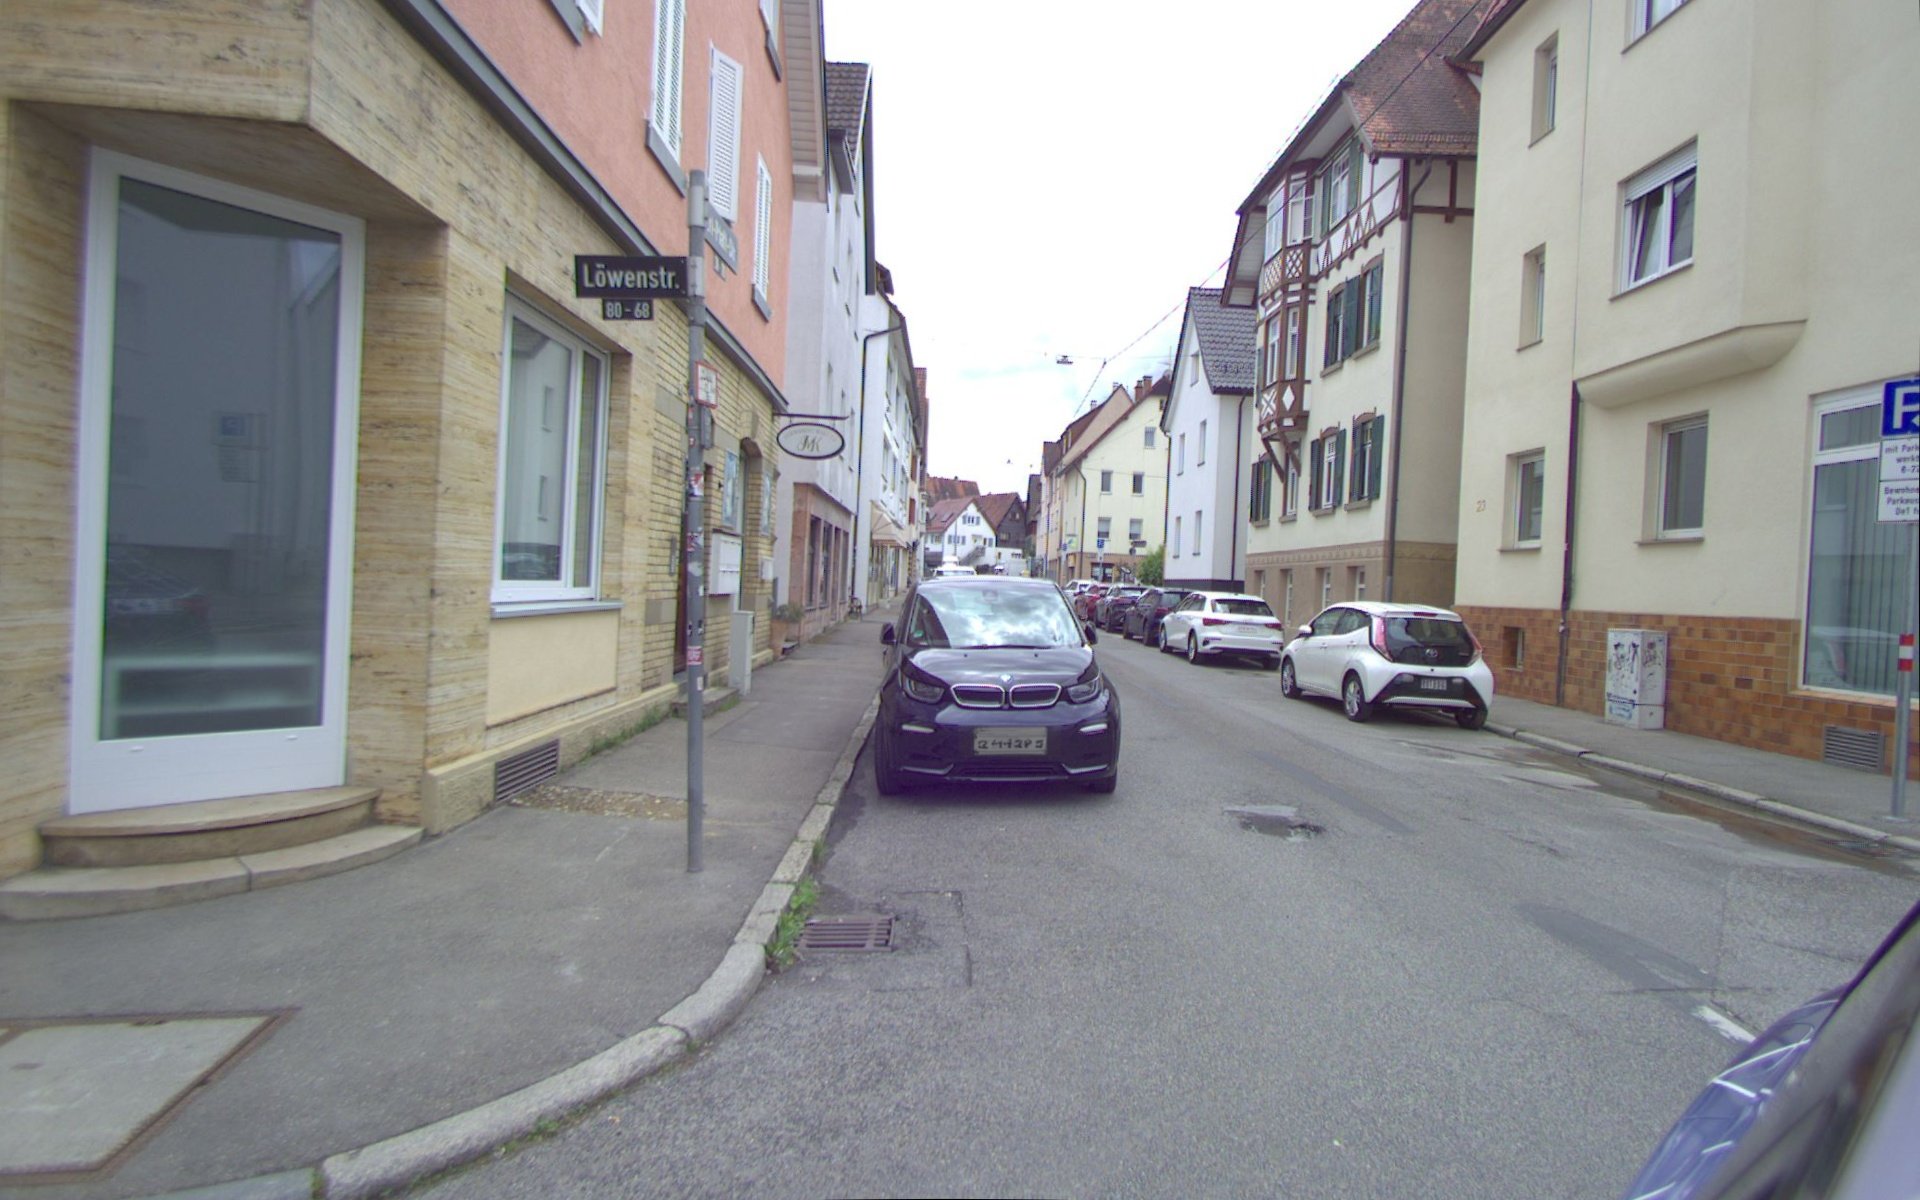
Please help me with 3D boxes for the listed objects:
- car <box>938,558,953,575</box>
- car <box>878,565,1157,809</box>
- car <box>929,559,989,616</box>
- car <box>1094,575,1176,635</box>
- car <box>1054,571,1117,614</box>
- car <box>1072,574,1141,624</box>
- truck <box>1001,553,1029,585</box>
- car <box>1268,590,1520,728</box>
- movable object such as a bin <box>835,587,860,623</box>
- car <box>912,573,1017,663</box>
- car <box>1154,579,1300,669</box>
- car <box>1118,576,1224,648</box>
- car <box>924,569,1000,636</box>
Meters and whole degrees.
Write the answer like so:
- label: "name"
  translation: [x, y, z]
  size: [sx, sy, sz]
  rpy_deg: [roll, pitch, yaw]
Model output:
- label: "car"
  translation: [-1.519, -3.605, 107.256]
  size: [1.576, 1.747, 3.553]
  rpy_deg: [-1, 2, 0]
- label: "car"
  translation: [0.253, 0.511, 8.539]
  size: [1.788, 1.562, 4.031]
  rpy_deg: [1, 2, -3]
- label: "car"
  translation: [-0.045, -0.492, 34.361]
  size: [1.865, 1.726, 4.496]
  rpy_deg: [2, 2, 0]
- label: "car"
  translation: [5.281, 0.088, 31.072]
  size: [1.724, 1.527, 4.085]
  rpy_deg: [5, 2, 0]
- label: "car"
  translation: [5.109, -0.348, 41.713]
  size: [1.723, 1.448, 4.355]
  rpy_deg: [5, 2, -4]
- label: "car"
  translation: [5.213, -0.085, 36.452]
  size: [1.724, 1.466, 4.069]
  rpy_deg: [5, 2, -1]
- label: "truck"
  translation: [4.444, -2.554, 82.740]
  size: [1.750, 2.421, 5.489]
  rpy_deg: [2, 2, -2]
- label: "car"
  translation: [5.610, 0.663, 13.645]
  size: [1.640, 1.451, 3.817]
  rpy_deg: [3, 1, -1]
- label: "movable object such as a bin"
  translation: [-3.106, 0.128, 28.058]
  size: [0.560, 0.941, 0.521]
  rpy_deg: [5, 1, 0]
- label: "car"
  translation: [0.022, 0.238, 19.383]
  size: [1.758, 1.434, 4.581]
  rpy_deg: [0, 2, -1]
- label: "car"
  translation: [5.408, 0.401, 21.113]
  size: [1.724, 1.449, 4.372]
  rpy_deg: [5, 2, -1]
- label: "car"
  translation: [5.314, 0.232, 26.051]
  size: [1.724, 1.473, 4.371]
  rpy_deg: [5, 2, 0]
- label: "car"
  translation: [0.032, -0.004, 25.161]
  size: [1.724, 1.450, 3.930]
  rpy_deg: [1, 2, 0]
